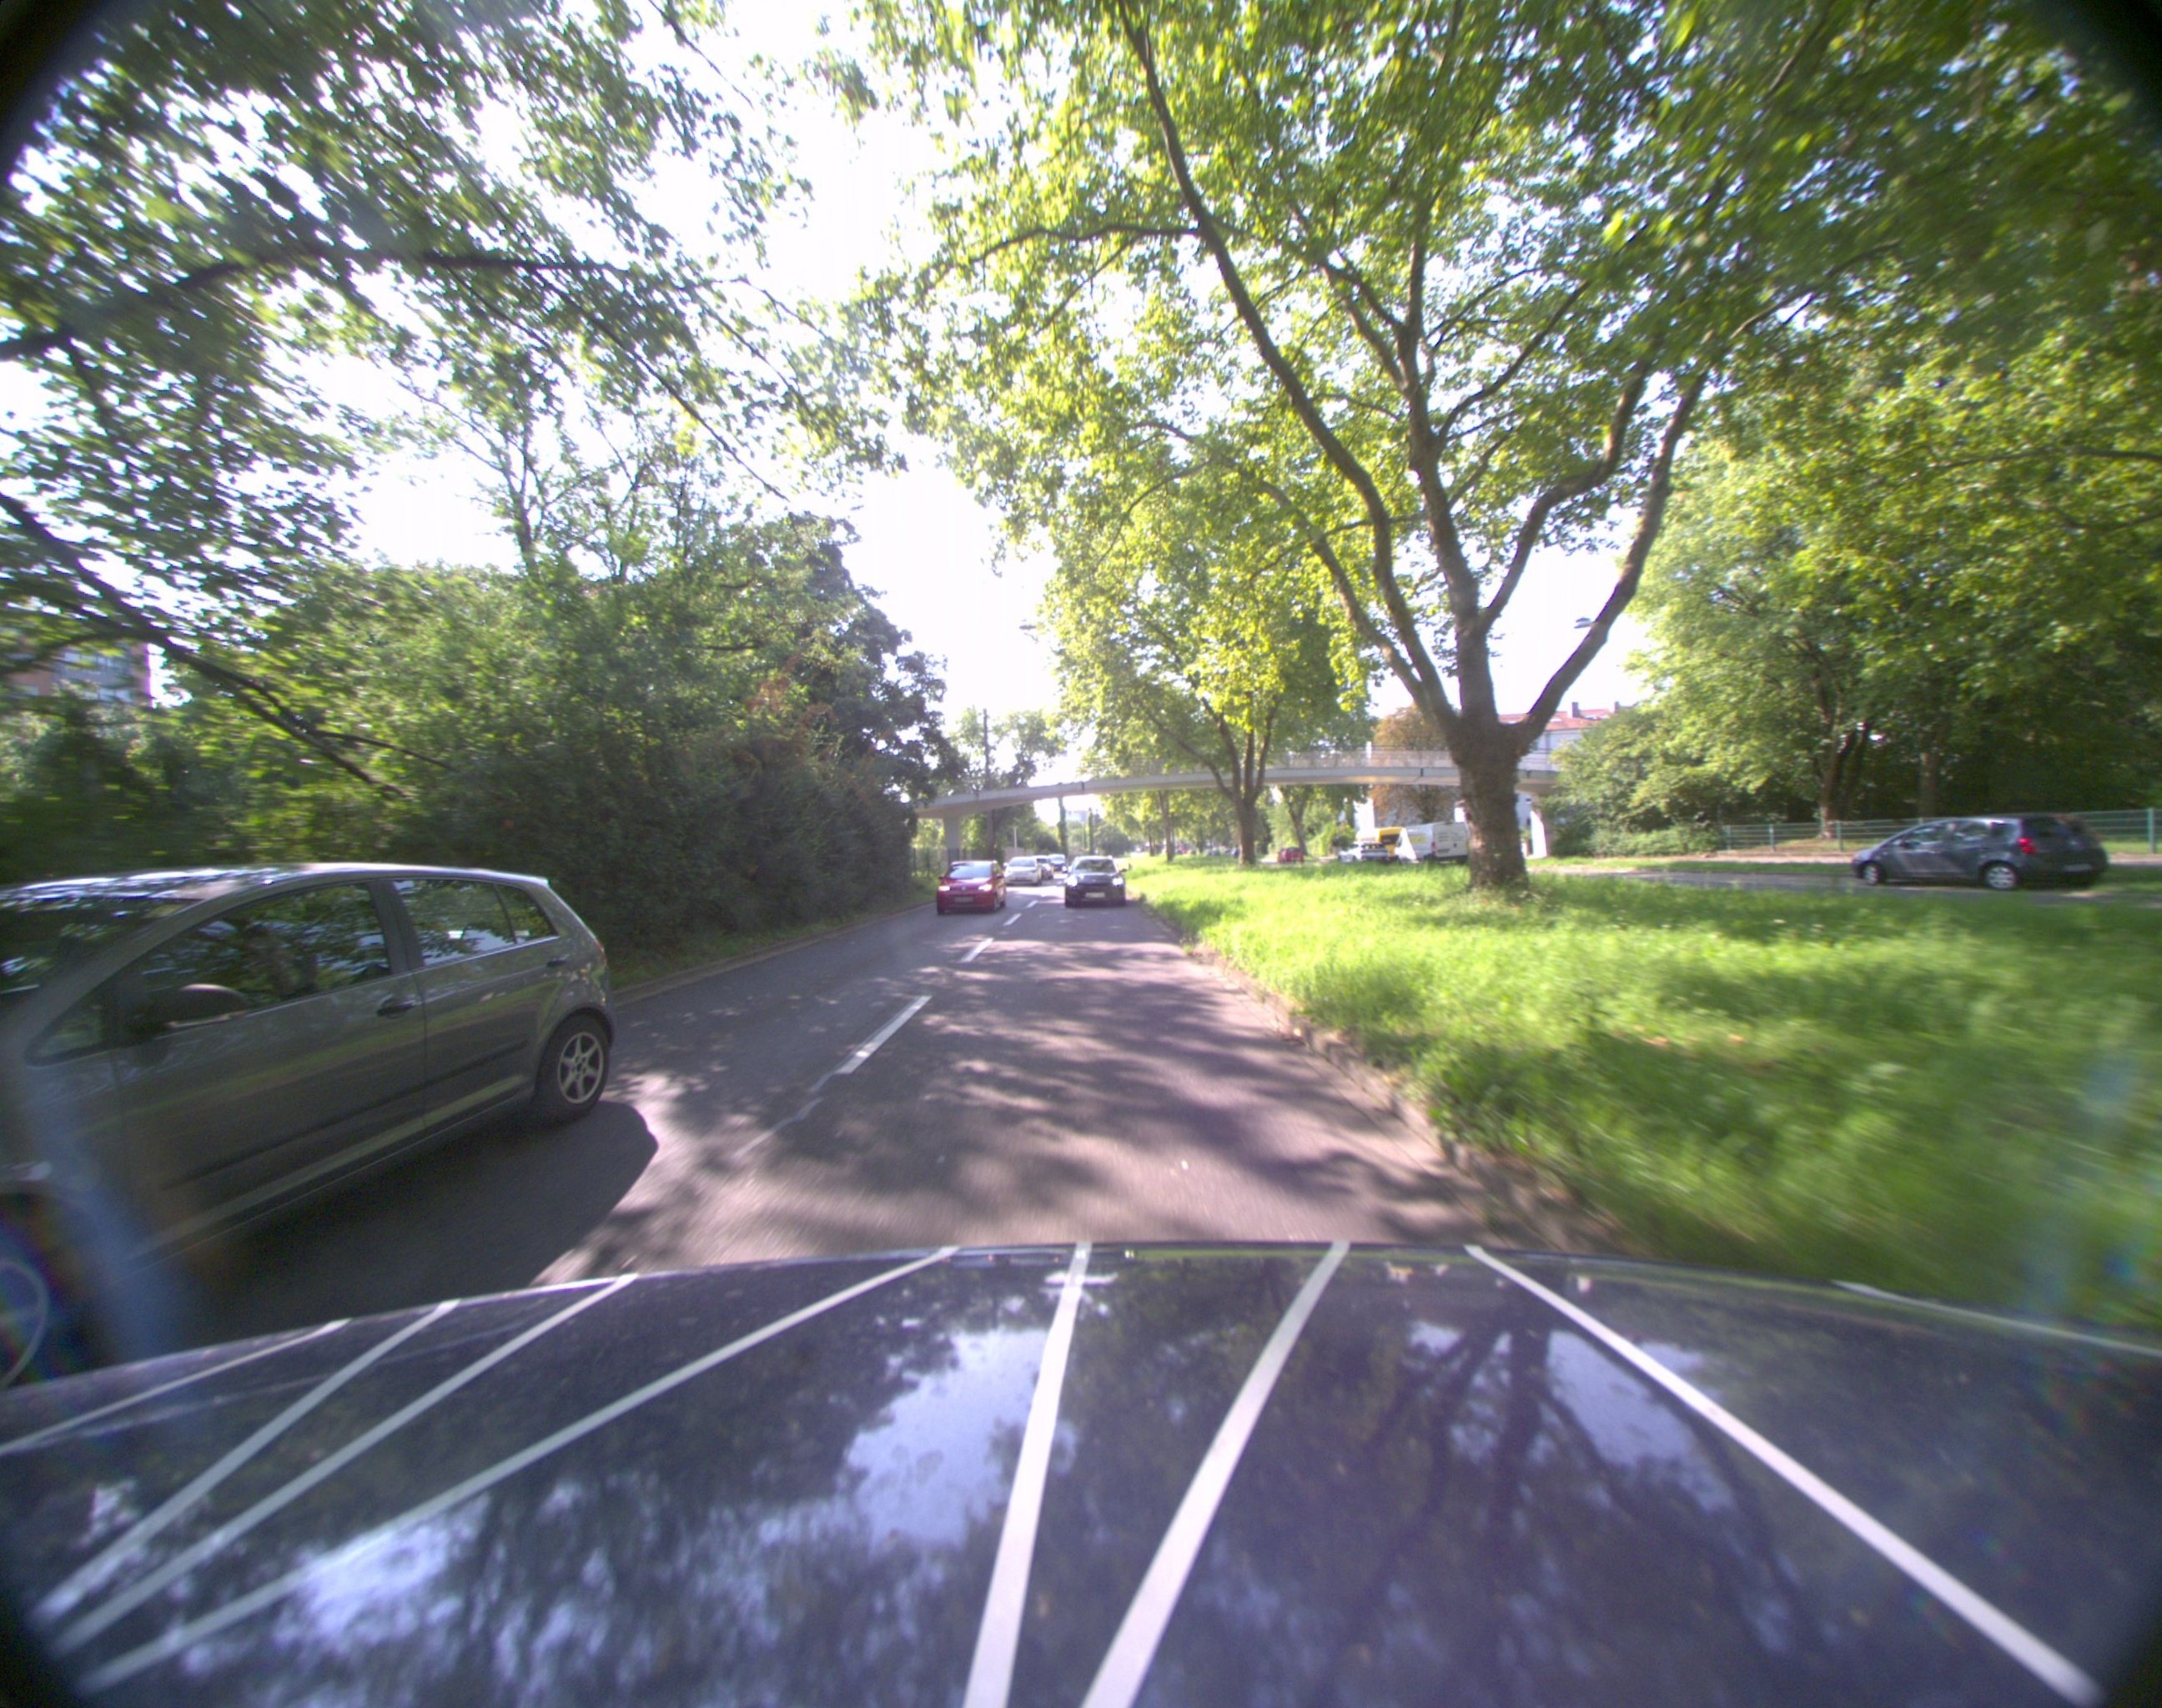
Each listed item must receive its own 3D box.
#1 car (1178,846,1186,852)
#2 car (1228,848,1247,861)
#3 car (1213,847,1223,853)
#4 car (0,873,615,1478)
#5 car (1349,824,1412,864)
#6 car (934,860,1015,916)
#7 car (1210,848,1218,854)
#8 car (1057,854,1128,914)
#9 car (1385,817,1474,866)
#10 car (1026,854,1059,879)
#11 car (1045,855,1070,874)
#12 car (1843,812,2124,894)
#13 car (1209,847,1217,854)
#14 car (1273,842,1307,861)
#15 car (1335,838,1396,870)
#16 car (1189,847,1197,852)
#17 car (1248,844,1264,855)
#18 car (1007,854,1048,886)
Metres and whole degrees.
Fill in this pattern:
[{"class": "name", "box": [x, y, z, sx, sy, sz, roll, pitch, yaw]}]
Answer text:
[{"class": "car", "box": [26.698, -1.375, 200.421, 1.779, 1.607, 4.857, -3, 1, 4]}, {"class": "car", "box": [20.143, 0.102, 97.855, 1.791, 1.524, 4.456, -3, 1, 3]}, {"class": "car", "box": [28.923, -0.839, 160.444, 1.612, 1.284, 3.524, -3, 1, 6]}, {"class": "car", "box": [-3.797, 0.955, 2.819, 1.649, 1.547, 3.898, -3, 1, 0]}, {"class": "car", "box": [20.175, -0.671, 51.504, 2.212, 2.465, 6.061, -3, 1, 4]}, {"class": "car", "box": [-3.022, 0.941, 22.192, 1.578, 1.390, 3.472, -1, 1, 5]}, {"class": "car", "box": [29.977, -0.718, 171.529, 1.612, 1.284, 3.524, -3, 1, 6]}, {"class": "car", "box": [0.414, 0.819, 22.362, 1.862, 1.572, 3.613, -1, 0, 4]}, {"class": "car", "box": [19.758, -0.684, 43.437, 2.213, 2.416, 6.265, -5, 1, 2]}, {"class": "car", "box": [-2.465, 0.788, 49.538, 1.649, 1.467, 3.899, -3, 1, 4]}, {"class": "car", "box": [-1.915, 0.806, 62.541, 1.649, 1.378, 3.899, -3, 1, 4]}, {"class": "car", "box": [19.294, -0.045, 16.547, 1.526, 1.524, 3.863, -2, 1, 0]}, {"class": "car", "box": [30.766, -0.836, 176.881, 1.612, 1.398, 3.524, -2, 0, 6]}, {"class": "car", "box": [17.921, -0.206, 65.374, 1.695, 1.524, 4.069, -2, 0, -1]}, {"class": "car", "box": [16.598, 0.002, 44.603, 1.806, 1.709, 4.719, -2, 0, 1]}, {"class": "car", "box": [29.000, -1.129, 196.996, 1.649, 1.356, 3.900, -3, 0, 3]}, {"class": "car", "box": [25.645, -0.633, 111.388, 1.649, 1.471, 3.899, -3, 1, 4]}, {"class": "car", "box": [-2.777, 0.796, 40.239, 1.649, 1.467, 3.899, -3, 1, 3]}]
